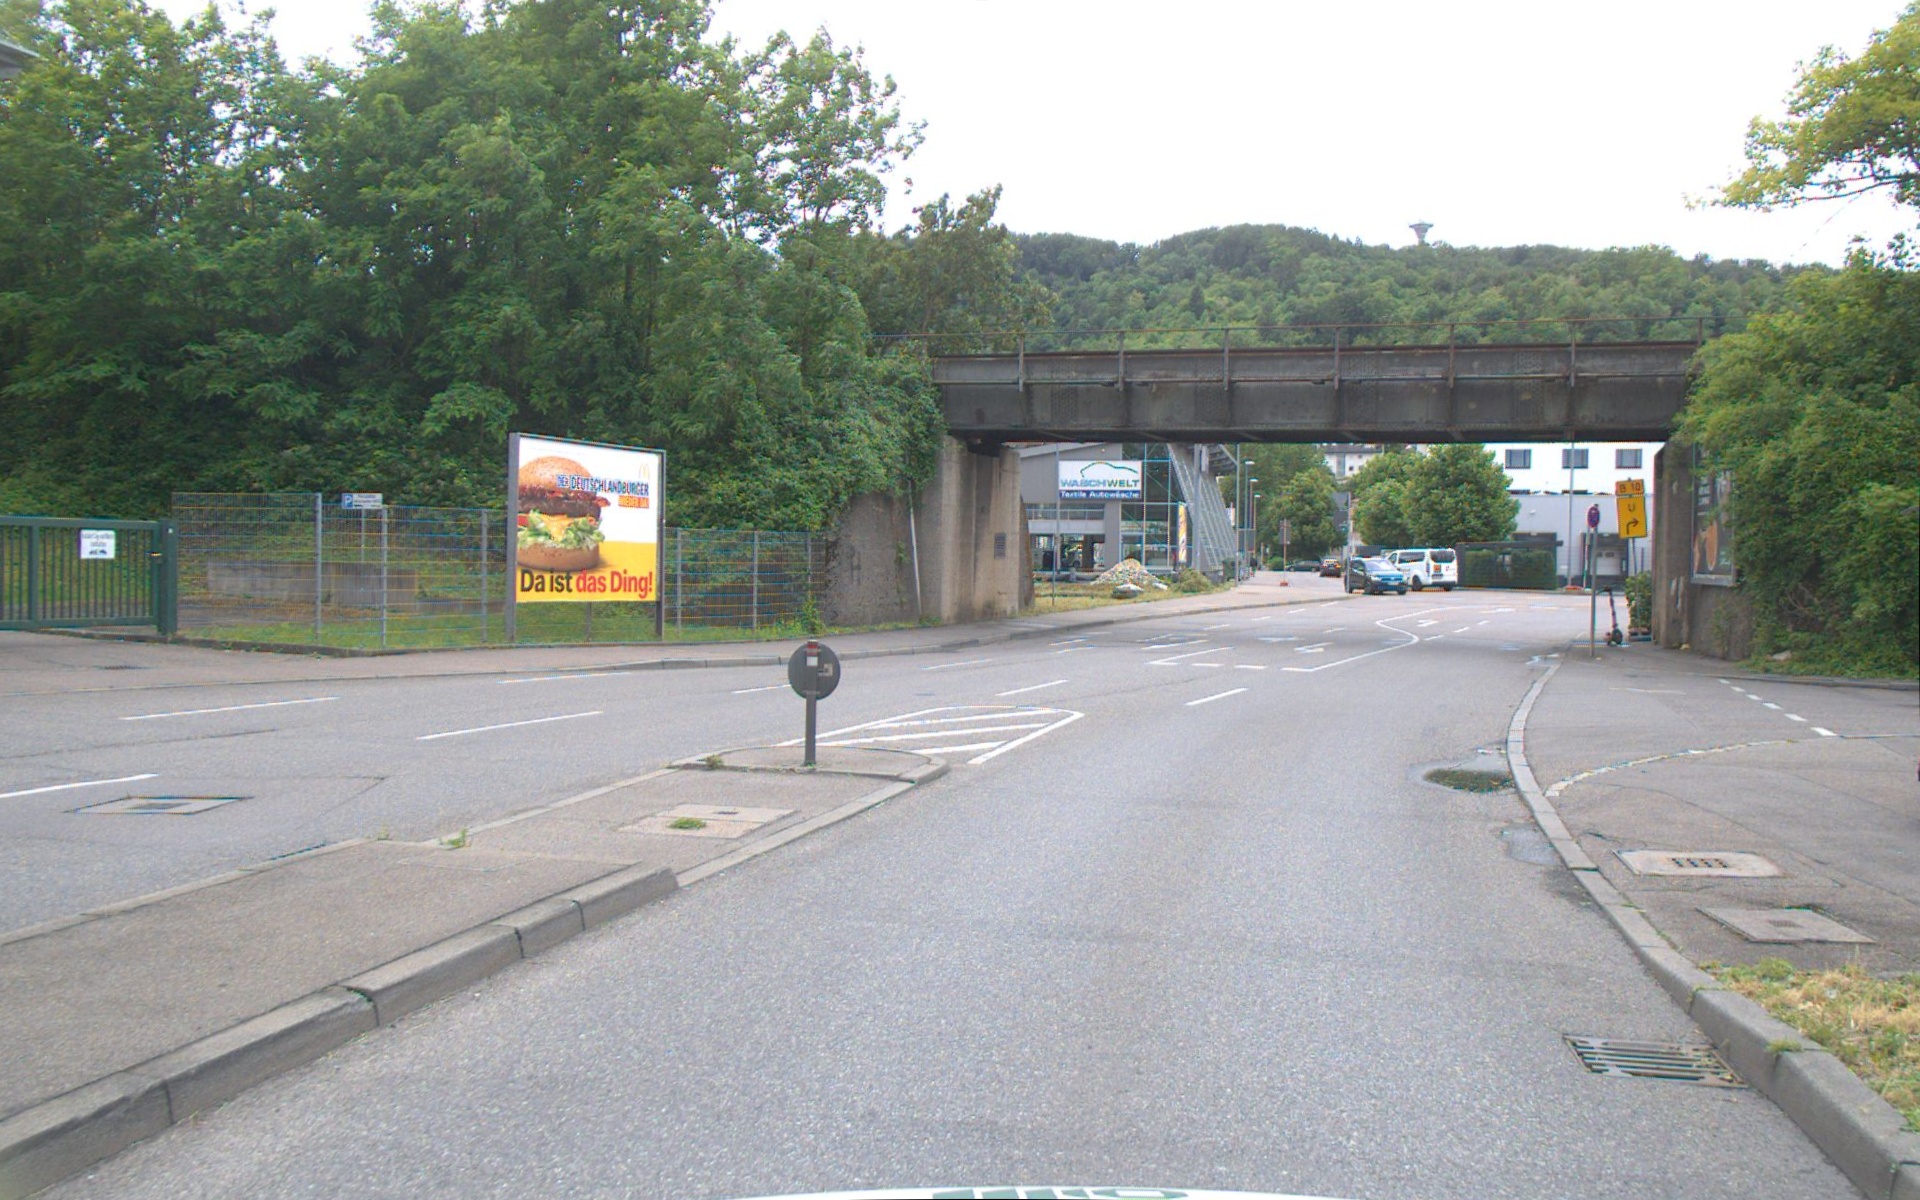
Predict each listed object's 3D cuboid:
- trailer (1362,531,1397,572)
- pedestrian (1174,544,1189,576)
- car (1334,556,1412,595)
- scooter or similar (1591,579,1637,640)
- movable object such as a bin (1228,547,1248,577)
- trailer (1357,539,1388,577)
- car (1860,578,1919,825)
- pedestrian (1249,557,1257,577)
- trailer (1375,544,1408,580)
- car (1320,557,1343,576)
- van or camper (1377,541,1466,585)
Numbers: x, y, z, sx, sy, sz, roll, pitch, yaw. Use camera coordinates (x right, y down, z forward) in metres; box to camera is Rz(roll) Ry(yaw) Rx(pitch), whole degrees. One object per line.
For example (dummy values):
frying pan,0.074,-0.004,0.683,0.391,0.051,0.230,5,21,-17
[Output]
trailer,39.680,-4.593,156.542,3.003,3.824,4.939,2,2,12
pedestrian,13.261,-2.397,98.848,0.809,1.900,0.718,0,1,0
car,19.095,-1.158,76.653,1.957,1.713,4.362,1,1,-9
scooter or similar,14.137,0.195,35.784,0.493,1.257,1.671,-3,0,9
movable object such as a bin,16.902,-2.323,100.603,1.118,1.787,1.060,1,1,14
trailer,33.755,-3.453,135.323,2.230,3.004,4.004,1,2,12
car,7.661,0.607,9.626,3.927,1.457,1.785,0,1,-4
pedestrian,25.044,-2.793,141.578,0.614,1.702,0.759,1,1,8
trailer,29.519,-2.597,113.189,1.951,2.384,4.004,2,2,12
car,34.987,-3.123,155.731,1.951,1.713,4.003,1,1,14
van or camper,22.702,-1.819,81.501,2.069,2.119,4.178,1,1,-22
